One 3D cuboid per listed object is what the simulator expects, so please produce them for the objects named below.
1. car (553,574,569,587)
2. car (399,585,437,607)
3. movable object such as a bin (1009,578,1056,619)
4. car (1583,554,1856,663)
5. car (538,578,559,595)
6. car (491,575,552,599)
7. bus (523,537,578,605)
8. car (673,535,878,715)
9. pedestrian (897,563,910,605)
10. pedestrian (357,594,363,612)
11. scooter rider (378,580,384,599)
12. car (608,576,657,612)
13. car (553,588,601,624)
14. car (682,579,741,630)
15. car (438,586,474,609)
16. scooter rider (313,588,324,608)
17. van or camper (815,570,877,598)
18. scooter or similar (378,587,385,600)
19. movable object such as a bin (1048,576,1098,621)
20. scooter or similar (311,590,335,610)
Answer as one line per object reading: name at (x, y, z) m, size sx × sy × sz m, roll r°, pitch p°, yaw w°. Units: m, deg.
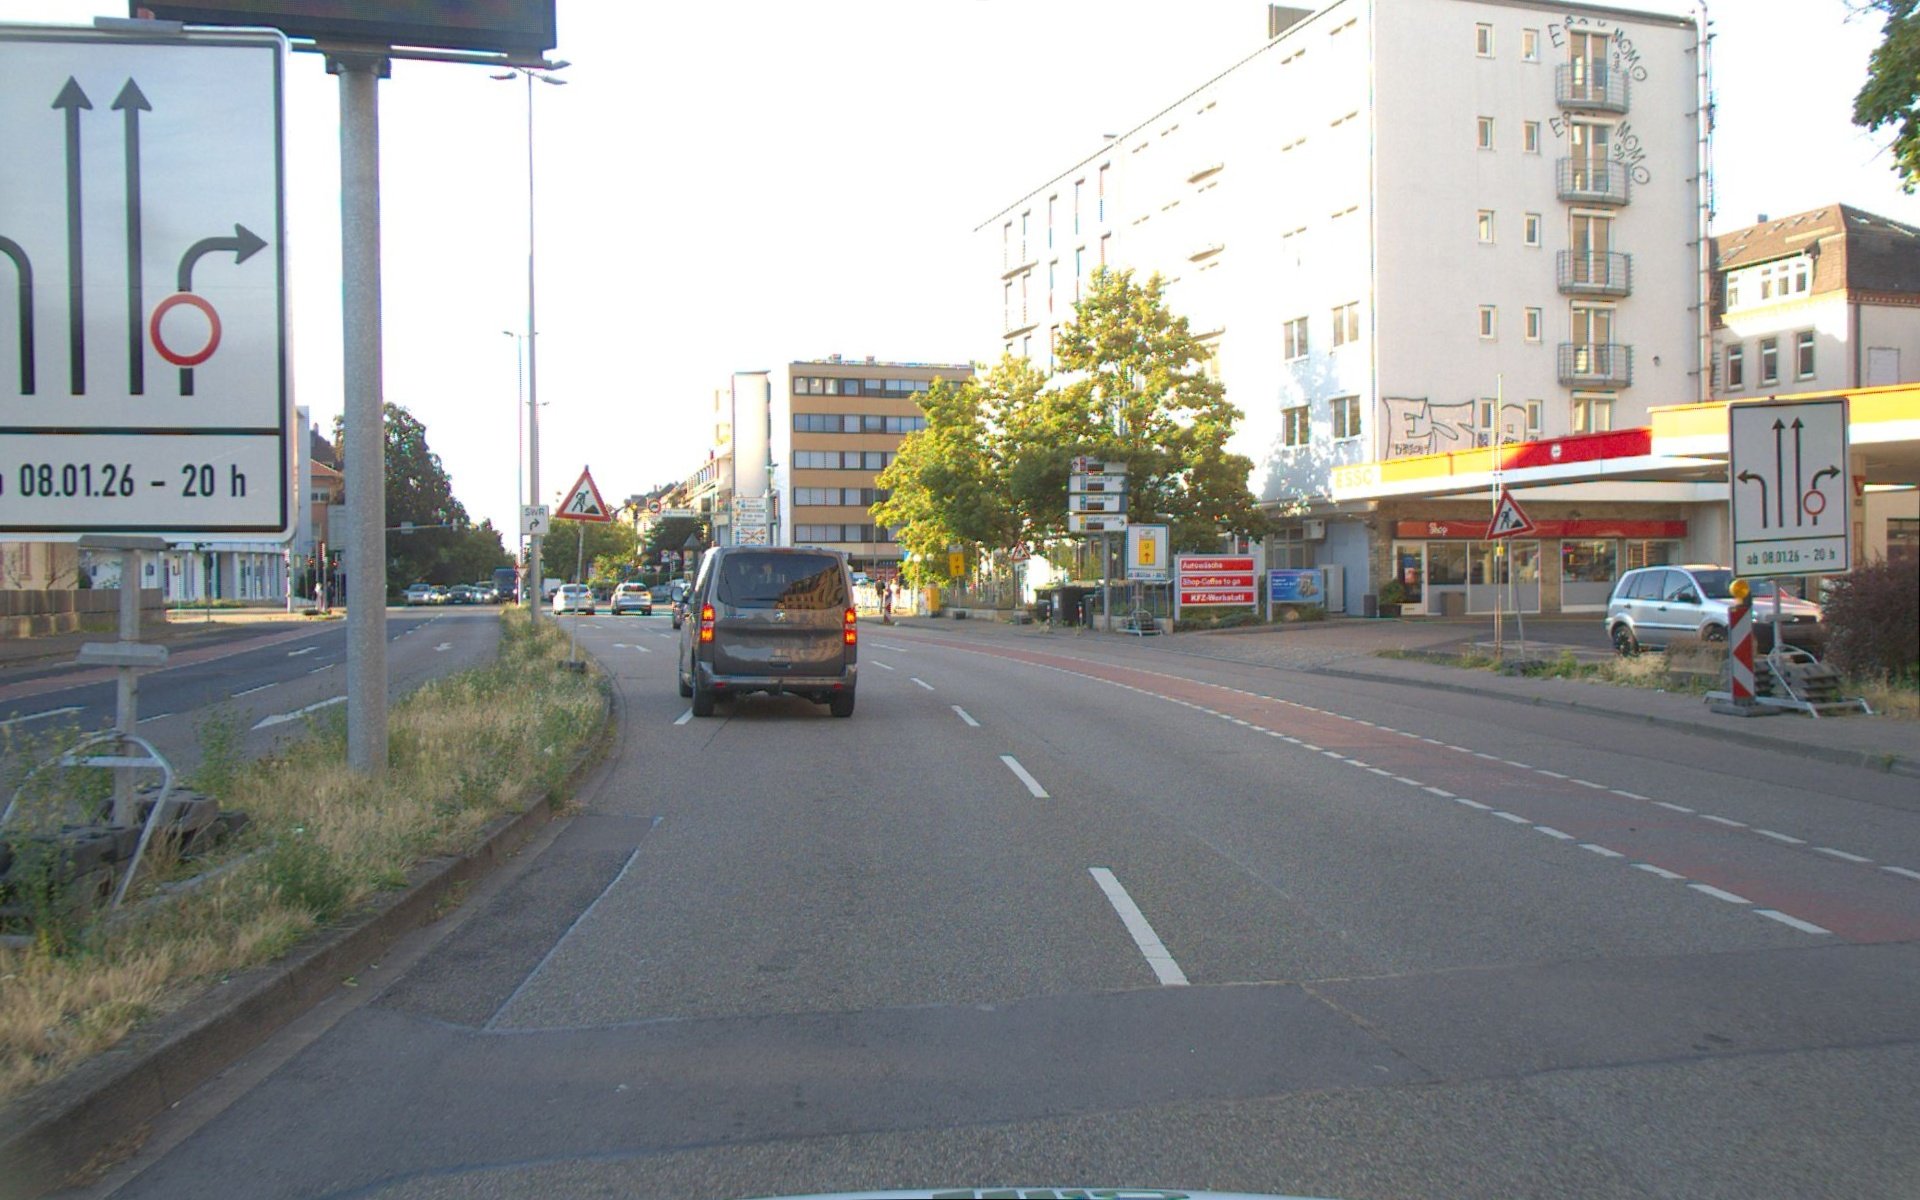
car at (-54.416, -2.620, 225.616) m, size 1.821 × 1.738 × 3.704 m, roll -1°, pitch 1°, yaw -19°
car at (-40.660, -0.315, 124.176) m, size 1.956 × 1.623 × 3.993 m, roll -1°, pitch 1°, yaw -8°
movable object such as a bin at (2.593, -0.071, 59.468) m, size 1.435 × 1.410 × 1.545 m, roll -1°, pitch 1°, yaw -6°
car at (11.782, 0.087, 26.002) m, size 1.740 × 1.556 × 4.341 m, roll -1°, pitch 1°, yaw -11°
car at (-42.989, -1.415, 172.615) m, size 1.821 × 1.738 × 3.704 m, roll -1°, pitch 1°, yaw -19°
car at (-30.749, -0.920, 115.975) m, size 3.932 × 1.623 × 1.987 m, roll -1°, pitch 1°, yaw -22°
bus at (-30.128, -2.073, 121.464) m, size 3.238 × 4.697 × 9.950 m, roll 1°, pitch 0°, yaw -18°
car at (-2.352, 0.247, 20.053) m, size 1.959 × 1.934 × 4.285 m, roll 1°, pitch 1°, yaw -13°
pedestrian at (-2.806, -0.781, 81.643) m, size 0.482 × 2.049 × 0.661 m, roll -1°, pitch 1°, yaw -16°
pedestrian at (-43.764, 0.233, 120.570) m, size 0.348 × 1.313 × 0.378 m, roll -1°, pitch 1°, yaw -14°
scooter rider at (-41.845, -0.767, 119.606) m, size 0.349 × 1.397 × 0.336 m, roll -1°, pitch 1°, yaw -14°
car at (-16.253, -0.321, 81.967) m, size 1.962 × 1.685 × 4.279 m, roll -1°, pitch 1°, yaw -17°
car at (-18.681, 0.256, 80.630) m, size 1.962 × 1.685 × 4.279 m, roll -1°, pitch 1°, yaw -17°
car at (-8.072, 0.103, 53.879) m, size 1.811 × 1.571 × 3.625 m, roll -1°, pitch 1°, yaw -8°
car at (-38.068, -0.204, 125.088) m, size 1.956 × 1.623 × 3.993 m, roll -1°, pitch 1°, yaw -8°
scooter rider at (-32.929, -0.098, 84.866) m, size 0.503 × 1.054 × 0.443 m, roll 1°, pitch 0°, yaw -26°
van or camper at (-8.695, -1.242, 125.891) m, size 4.486 × 2.049 × 1.993 m, roll -1°, pitch 1°, yaw -13°
scooter or similar at (-41.836, -0.470, 119.599) m, size 0.352 × 0.911 × 0.901 m, roll -1°, pitch 1°, yaw -14°
movable object such as a bin at (3.827, -0.071, 56.235) m, size 1.435 × 1.479 × 1.545 m, roll -1°, pitch 1°, yaw -6°
scooter or similar at (-32.724, 0.015, 84.956) m, size 1.085 × 0.993 × 0.555 m, roll 1°, pitch 0°, yaw -25°
